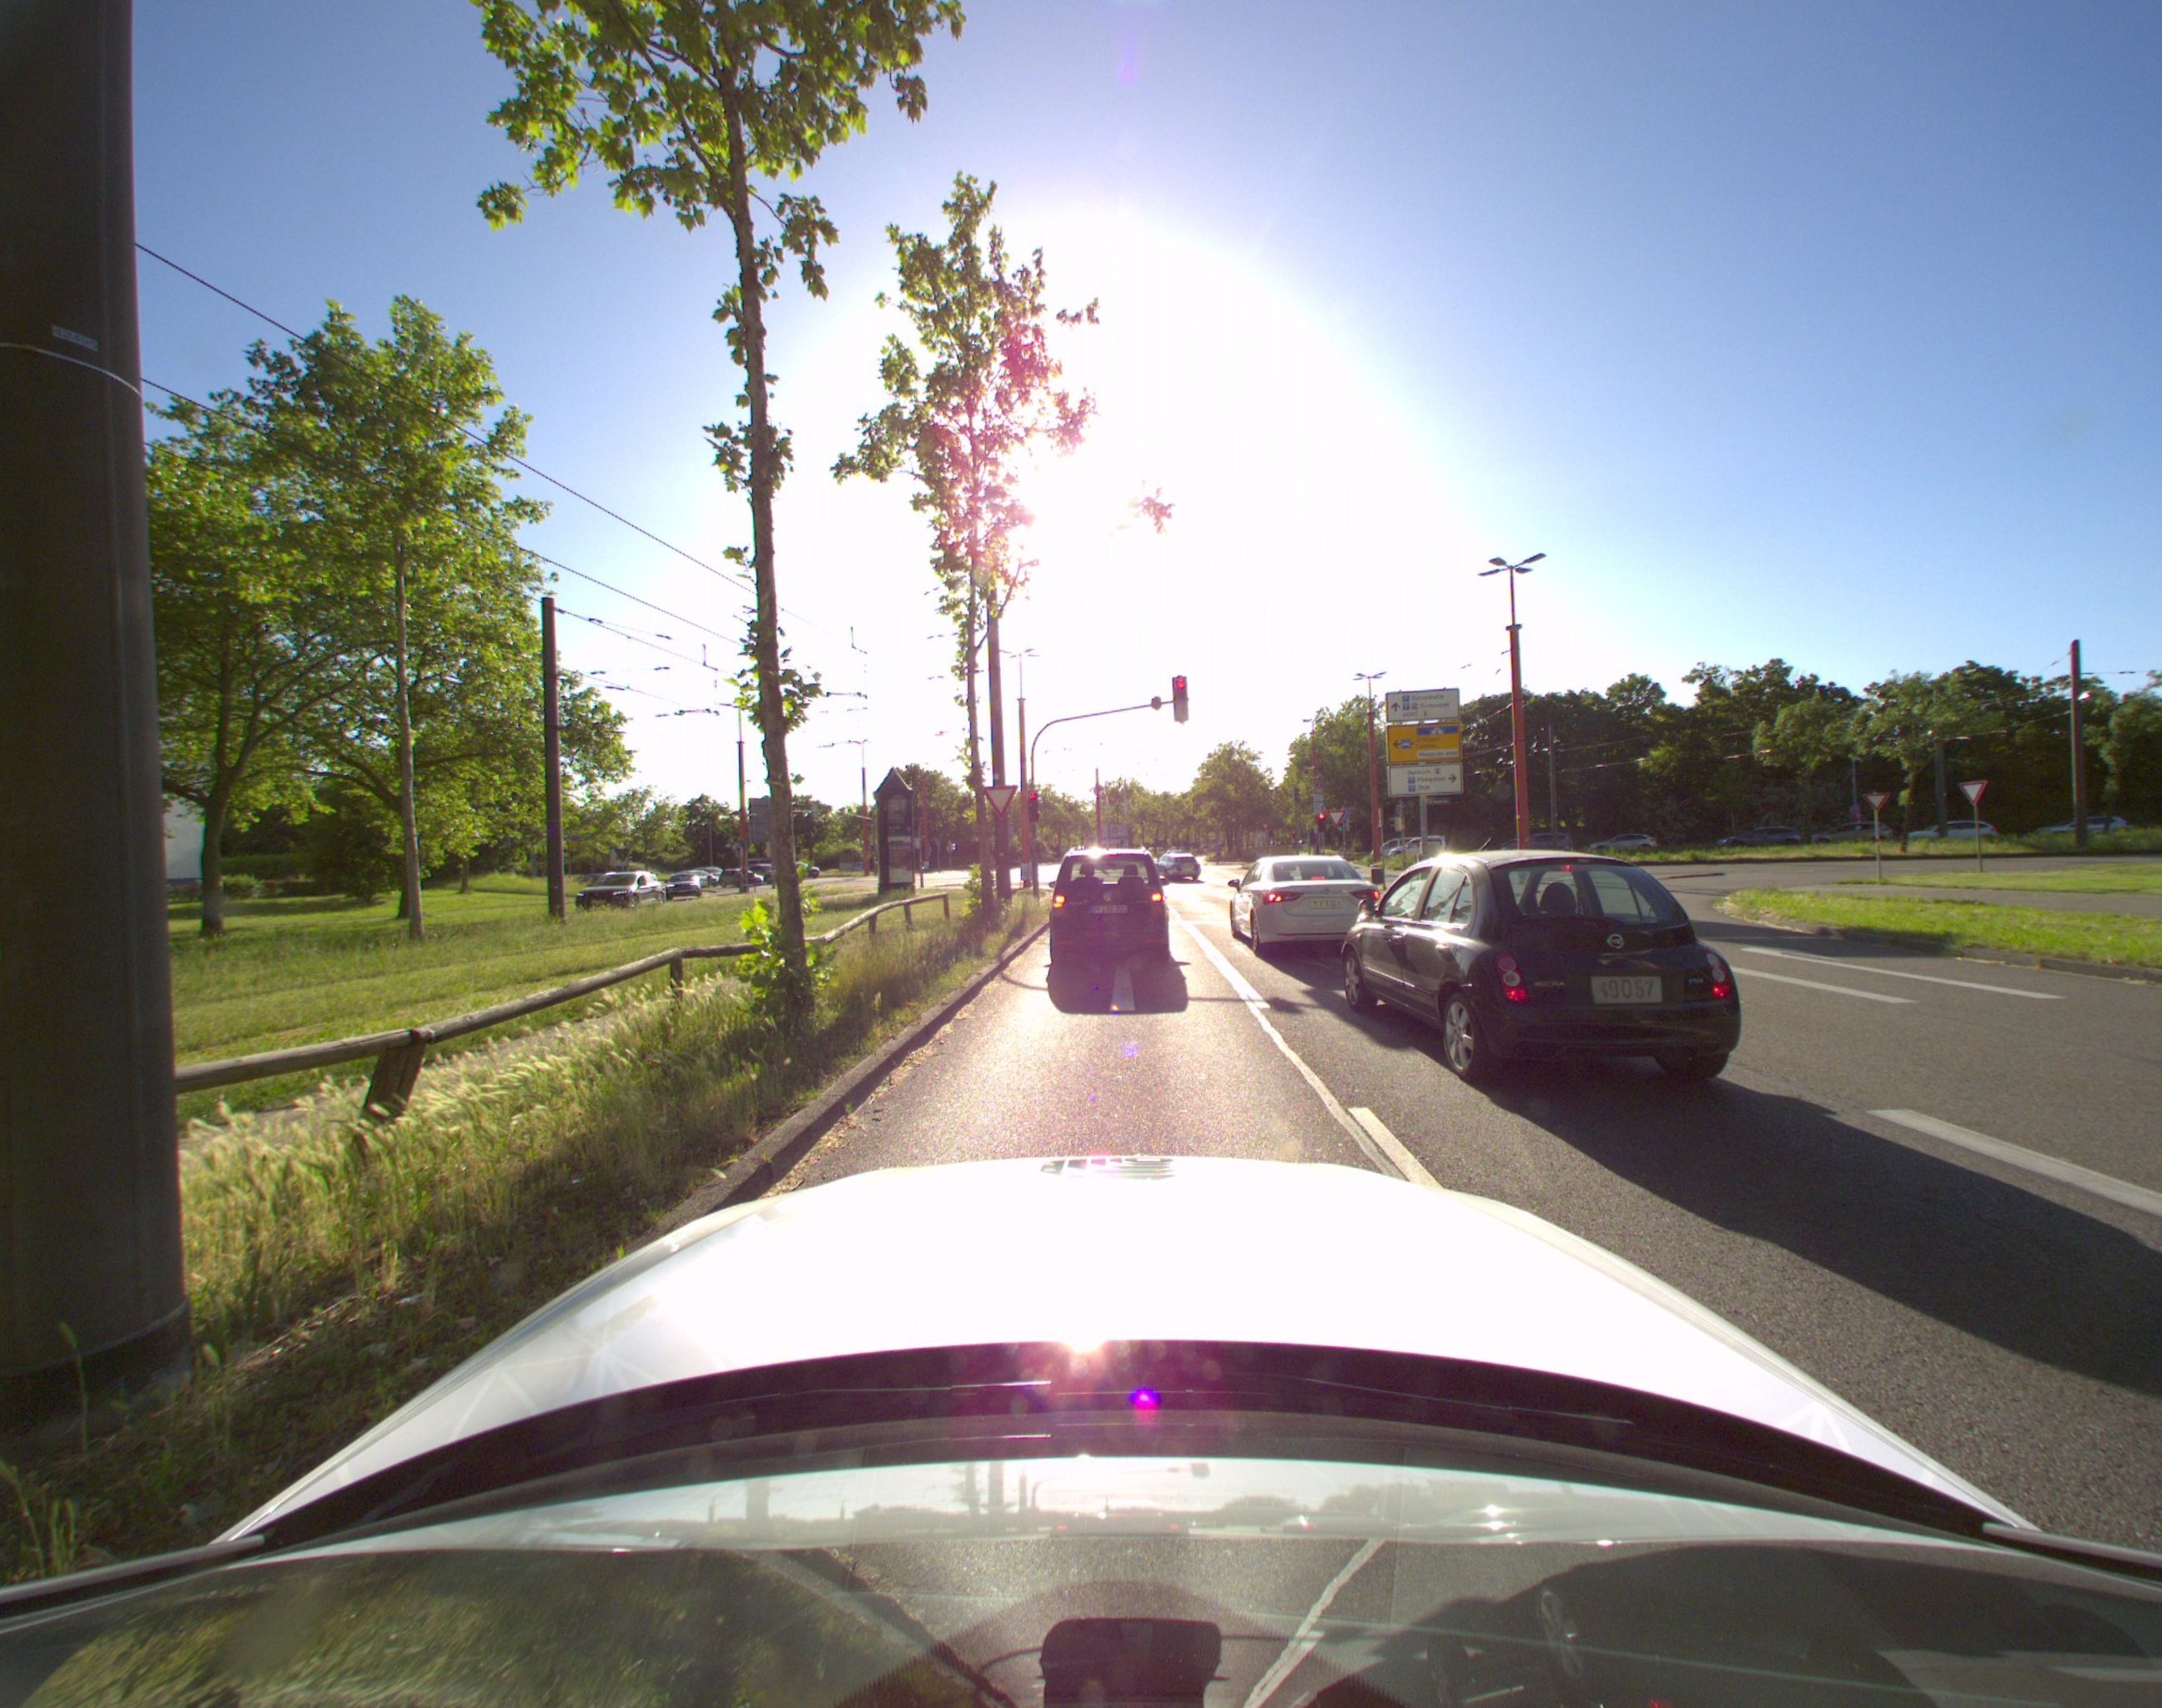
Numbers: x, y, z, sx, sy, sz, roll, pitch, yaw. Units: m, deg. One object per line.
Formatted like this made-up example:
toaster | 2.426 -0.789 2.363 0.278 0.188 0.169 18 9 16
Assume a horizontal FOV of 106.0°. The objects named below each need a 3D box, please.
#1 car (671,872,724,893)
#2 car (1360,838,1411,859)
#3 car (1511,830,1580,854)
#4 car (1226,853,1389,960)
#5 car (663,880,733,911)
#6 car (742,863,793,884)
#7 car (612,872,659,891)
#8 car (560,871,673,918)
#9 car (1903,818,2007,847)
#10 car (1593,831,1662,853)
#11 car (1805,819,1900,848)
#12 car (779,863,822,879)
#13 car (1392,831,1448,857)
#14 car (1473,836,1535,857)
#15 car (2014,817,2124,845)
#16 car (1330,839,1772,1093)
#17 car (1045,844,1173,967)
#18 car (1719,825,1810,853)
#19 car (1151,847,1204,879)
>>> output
car | -31.973 2.392 67.891 4.135 1.612 1.880 -2 0 27
car | 24.473 -0.443 65.494 3.608 1.655 1.690 0 -1 27
car | 32.604 -0.818 57.287 4.139 1.644 1.770 0 -1 29
car | 3.464 0.722 13.226 1.713 1.438 4.202 -1 0 4
car | -21.875 2.357 46.719 1.799 1.522 4.332 -2 0 2
car | -26.392 1.637 68.501 3.948 1.644 2.013 -2 0 33
car | -39.090 2.418 71.445 3.949 1.513 1.743 -2 0 28
car | -17.438 1.471 30.800 1.758 1.512 4.104 -2 0 2
car | 50.711 -1.204 47.357 3.782 1.523 1.706 -2 0 31
car | 38.489 -0.823 57.459 3.925 1.441 1.697 0 -1 31
car | 49.498 -1.295 52.360 4.080 1.644 1.864 -2 0 31
car | -26.252 1.597 76.078 3.948 1.330 1.709 -2 0 33
car | 25.506 -0.710 61.276 3.797 1.890 1.774 0 -1 26
car | 31.881 -0.555 61.361 4.082 1.511 1.834 0 -1 28
car | 56.981 -1.315 47.070 3.699 1.473 1.611 -2 0 30
car | 3.344 0.668 6.656 1.647 1.500 3.617 -1 0 3
car | 0.439 0.697 13.010 1.694 1.621 3.898 -2 0 2
car | 43.099 -0.951 51.464 4.080 1.598 1.840 -2 0 29
car | 5.429 0.494 46.349 1.798 1.656 4.098 -2 0 -11
